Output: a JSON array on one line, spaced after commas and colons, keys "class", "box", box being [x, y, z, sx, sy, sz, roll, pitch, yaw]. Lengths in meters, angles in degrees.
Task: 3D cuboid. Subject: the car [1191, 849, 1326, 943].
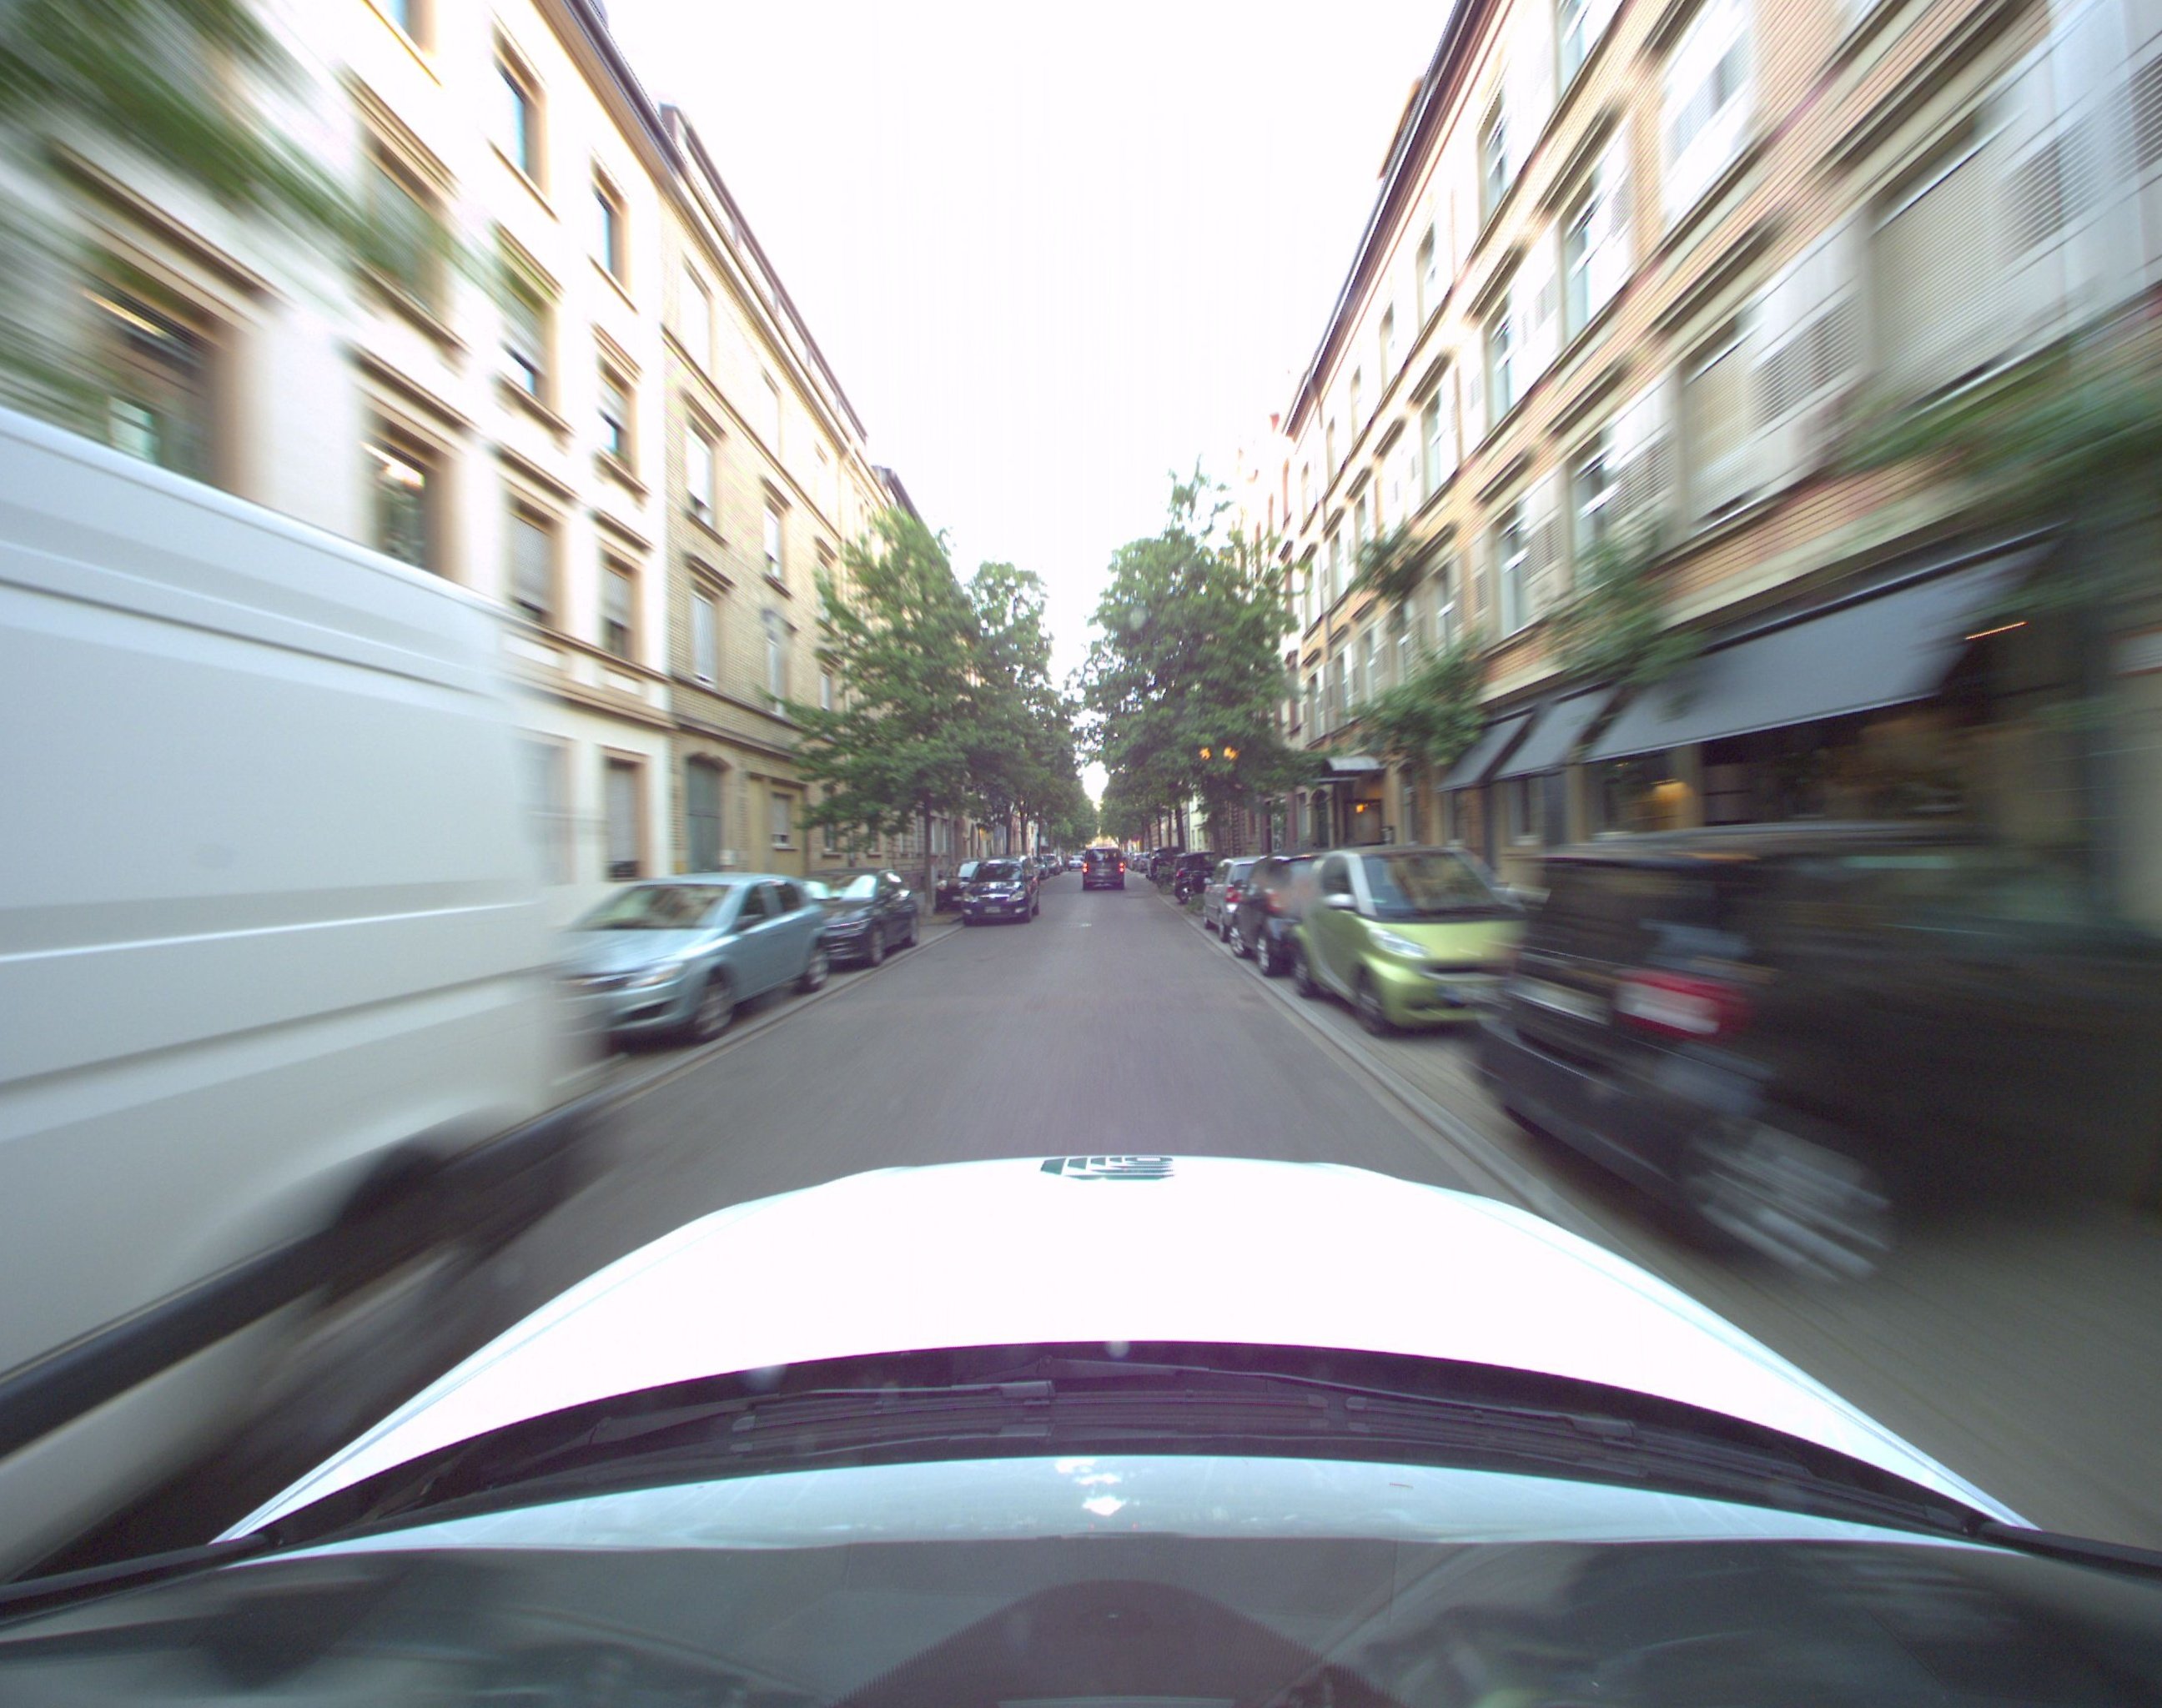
[{"class": "car", "box": [3.213, 0.689, 15.515, 1.727, 1.491, 4.105, -2, 0, 2]}]

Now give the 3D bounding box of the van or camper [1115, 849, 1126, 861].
[{"class": "van or camper", "box": [8.251, 0.220, 171.575, 1.987, 2.599, 5.424, -2, 0, 0]}]

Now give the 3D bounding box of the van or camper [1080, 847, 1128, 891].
[{"class": "van or camper", "box": [1.131, 0.663, 37.761, 2.026, 1.897, 4.275, -2, 0, 4]}]

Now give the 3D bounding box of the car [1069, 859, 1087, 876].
[{"class": "car", "box": [-0.250, 1.235, 76.226, 1.574, 1.420, 3.754, -2, 0, 1]}]

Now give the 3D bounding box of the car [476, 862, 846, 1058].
[{"class": "car", "box": [-3.992, 0.883, 8.645, 1.678, 1.510, 4.115, -1, 0, 1]}]

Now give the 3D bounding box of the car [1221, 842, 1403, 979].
[{"class": "car", "box": [2.991, 0.666, 11.142, 1.586, 1.560, 3.122, -2, 0, 0]}]

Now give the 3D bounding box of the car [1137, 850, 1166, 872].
[{"class": "car", "box": [5.187, 0.509, 60.435, 1.752, 1.463, 4.309, -2, 0, 1]}]

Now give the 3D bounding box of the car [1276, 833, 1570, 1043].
[{"class": "car", "box": [2.997, 0.651, 7.751, 1.460, 1.552, 2.916, -3, 0, -2]}]

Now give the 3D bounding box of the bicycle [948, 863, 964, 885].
[{"class": "bicycle", "box": [-6.456, 1.025, 42.083, 0.459, 1.089, 1.631, 1, 1, 3]}]

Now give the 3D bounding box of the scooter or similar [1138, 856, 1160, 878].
[{"class": "scooter or similar", "box": [3.921, 0.749, 46.977, 0.667, 1.190, 1.123, -5, -1, 41]}]

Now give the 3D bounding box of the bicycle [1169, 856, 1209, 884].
[{"class": "bicycle", "box": [4.770, 0.702, 36.106, 1.688, 1.198, 0.583, -2, 0, 4]}]

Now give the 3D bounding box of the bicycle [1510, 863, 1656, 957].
[{"class": "bicycle", "box": [6.374, 0.664, 10.489, 0.683, 1.036, 1.952, -4, 0, 3]}]

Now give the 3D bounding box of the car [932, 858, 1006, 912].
[{"class": "car", "box": [-3.339, 0.883, 24.824, 1.685, 1.501, 3.712, 0, 0, 1]}]

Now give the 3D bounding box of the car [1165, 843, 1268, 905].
[{"class": "car", "box": [4.073, 0.587, 24.896, 2.787, 1.599, 1.801, -5, 0, 2]}]

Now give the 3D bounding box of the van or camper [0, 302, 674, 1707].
[{"class": "van or camper", "box": [-2.828, 0.371, 0.359, 2.211, 2.431, 5.663, -2, 0, 2]}]

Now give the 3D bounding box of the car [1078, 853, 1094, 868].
[{"class": "car", "box": [0.529, 0.732, 93.522, 1.658, 1.563, 3.998, -2, 0, -1]}]

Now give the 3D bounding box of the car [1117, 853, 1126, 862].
[{"class": "car", "box": [7.380, 0.670, 147.867, 1.544, 1.496, 3.615, -1, 0, 5]}]

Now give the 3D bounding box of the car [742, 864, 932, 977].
[{"class": "car", "box": [-3.764, 0.947, 13.392, 1.761, 1.462, 4.258, -2, 0, 0]}]

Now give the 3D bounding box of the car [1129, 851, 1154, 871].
[{"class": "car", "box": [5.117, 0.575, 69.355, 1.711, 1.476, 4.367, -3, 0, 0]}]

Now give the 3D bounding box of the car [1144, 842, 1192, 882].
[{"class": "car", "box": [4.492, 0.402, 42.737, 2.006, 1.833, 4.812, -4, 0, 2]}]

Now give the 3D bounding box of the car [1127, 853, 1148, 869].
[{"class": "car", "box": [5.173, 0.618, 74.966, 1.630, 1.424, 3.564, -3, 0, 0]}]

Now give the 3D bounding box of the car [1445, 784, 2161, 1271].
[{"class": "car", "box": [3.324, 0.574, 3.575, 2.705, 1.573, 1.526, -4, 0, 1]}]

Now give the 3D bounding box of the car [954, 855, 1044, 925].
[{"class": "car", "box": [-1.991, 0.833, 20.933, 1.717, 1.573, 4.221, -2, 0, 2]}]

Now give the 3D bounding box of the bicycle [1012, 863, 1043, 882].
[{"class": "bicycle", "box": [-3.059, 1.058, 46.488, 1.677, 1.003, 0.430, 1, 0, 3]}]

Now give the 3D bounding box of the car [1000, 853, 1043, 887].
[{"class": "car", "box": [-3.021, 0.782, 41.828, 1.669, 1.607, 3.865, -1, 0, 4]}]

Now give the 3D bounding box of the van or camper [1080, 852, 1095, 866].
[{"class": "van or camper", "box": [0.864, 0.642, 108.787, 1.871, 1.843, 4.752, -2, 0, 0]}]

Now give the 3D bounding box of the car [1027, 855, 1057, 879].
[{"class": "car", "box": [-2.698, 0.883, 57.303, 1.699, 1.580, 4.080, 0, 0, 2]}]
